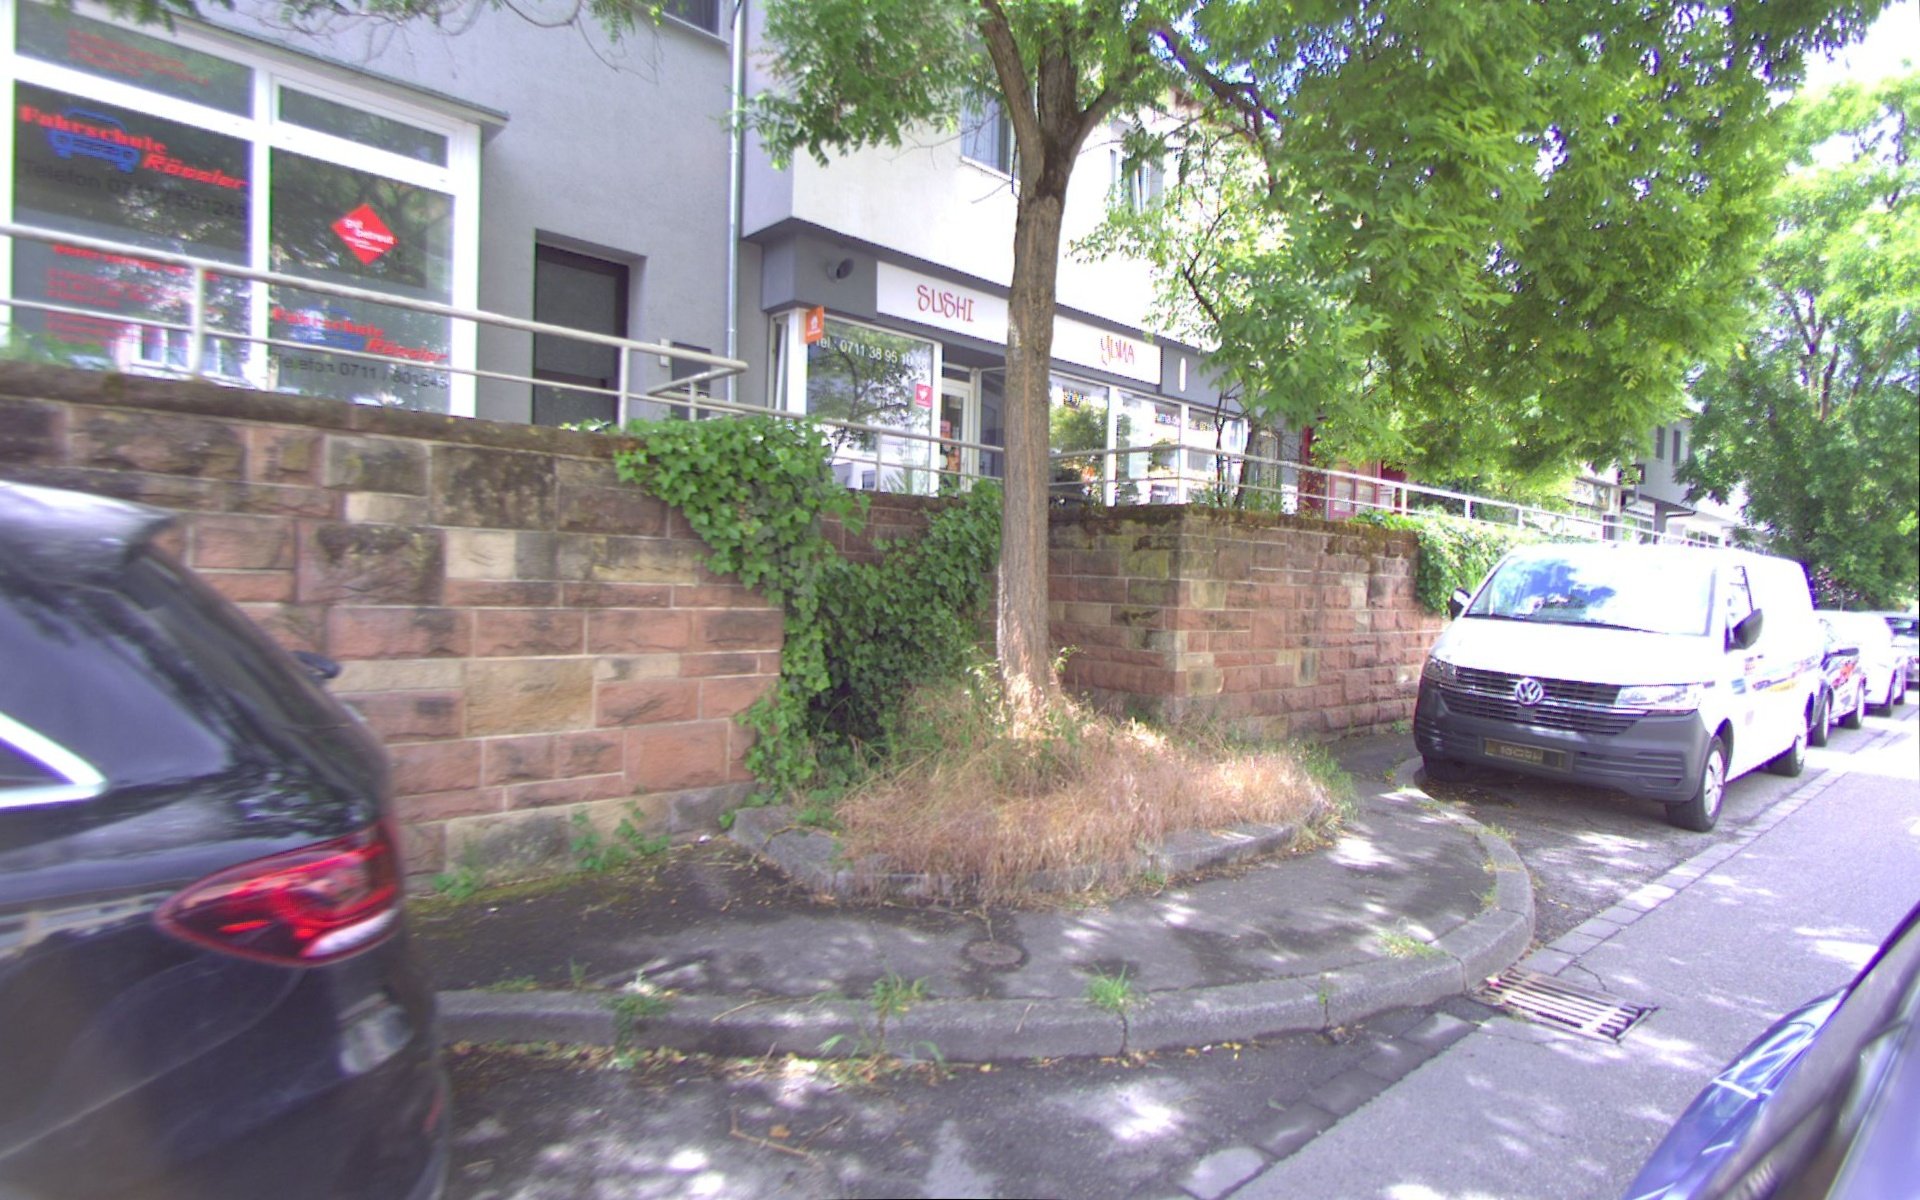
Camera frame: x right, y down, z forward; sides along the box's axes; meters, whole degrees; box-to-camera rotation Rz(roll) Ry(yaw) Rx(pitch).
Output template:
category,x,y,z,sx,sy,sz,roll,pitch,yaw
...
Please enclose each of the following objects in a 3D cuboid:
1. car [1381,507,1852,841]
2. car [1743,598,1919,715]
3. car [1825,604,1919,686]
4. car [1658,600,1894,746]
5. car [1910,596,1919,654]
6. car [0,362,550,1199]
category,x,y,z,sx,sy,sz,roll,pitch,yaw
car,5.657,0.421,8.414,4.925,1.994,1.977,0,1,-41
car,13.678,0.762,15.668,4.076,1.445,1.783,0,4,-44
car,18.784,0.834,20.147,4.074,1.446,1.784,0,1,-41
car,9.911,0.757,12.205,3.669,1.446,1.577,0,1,-41
car,29.948,0.764,30.376,4.077,1.674,1.816,0,1,-43
car,-2.863,0.492,0.768,4.370,1.637,1.793,0,3,-42
